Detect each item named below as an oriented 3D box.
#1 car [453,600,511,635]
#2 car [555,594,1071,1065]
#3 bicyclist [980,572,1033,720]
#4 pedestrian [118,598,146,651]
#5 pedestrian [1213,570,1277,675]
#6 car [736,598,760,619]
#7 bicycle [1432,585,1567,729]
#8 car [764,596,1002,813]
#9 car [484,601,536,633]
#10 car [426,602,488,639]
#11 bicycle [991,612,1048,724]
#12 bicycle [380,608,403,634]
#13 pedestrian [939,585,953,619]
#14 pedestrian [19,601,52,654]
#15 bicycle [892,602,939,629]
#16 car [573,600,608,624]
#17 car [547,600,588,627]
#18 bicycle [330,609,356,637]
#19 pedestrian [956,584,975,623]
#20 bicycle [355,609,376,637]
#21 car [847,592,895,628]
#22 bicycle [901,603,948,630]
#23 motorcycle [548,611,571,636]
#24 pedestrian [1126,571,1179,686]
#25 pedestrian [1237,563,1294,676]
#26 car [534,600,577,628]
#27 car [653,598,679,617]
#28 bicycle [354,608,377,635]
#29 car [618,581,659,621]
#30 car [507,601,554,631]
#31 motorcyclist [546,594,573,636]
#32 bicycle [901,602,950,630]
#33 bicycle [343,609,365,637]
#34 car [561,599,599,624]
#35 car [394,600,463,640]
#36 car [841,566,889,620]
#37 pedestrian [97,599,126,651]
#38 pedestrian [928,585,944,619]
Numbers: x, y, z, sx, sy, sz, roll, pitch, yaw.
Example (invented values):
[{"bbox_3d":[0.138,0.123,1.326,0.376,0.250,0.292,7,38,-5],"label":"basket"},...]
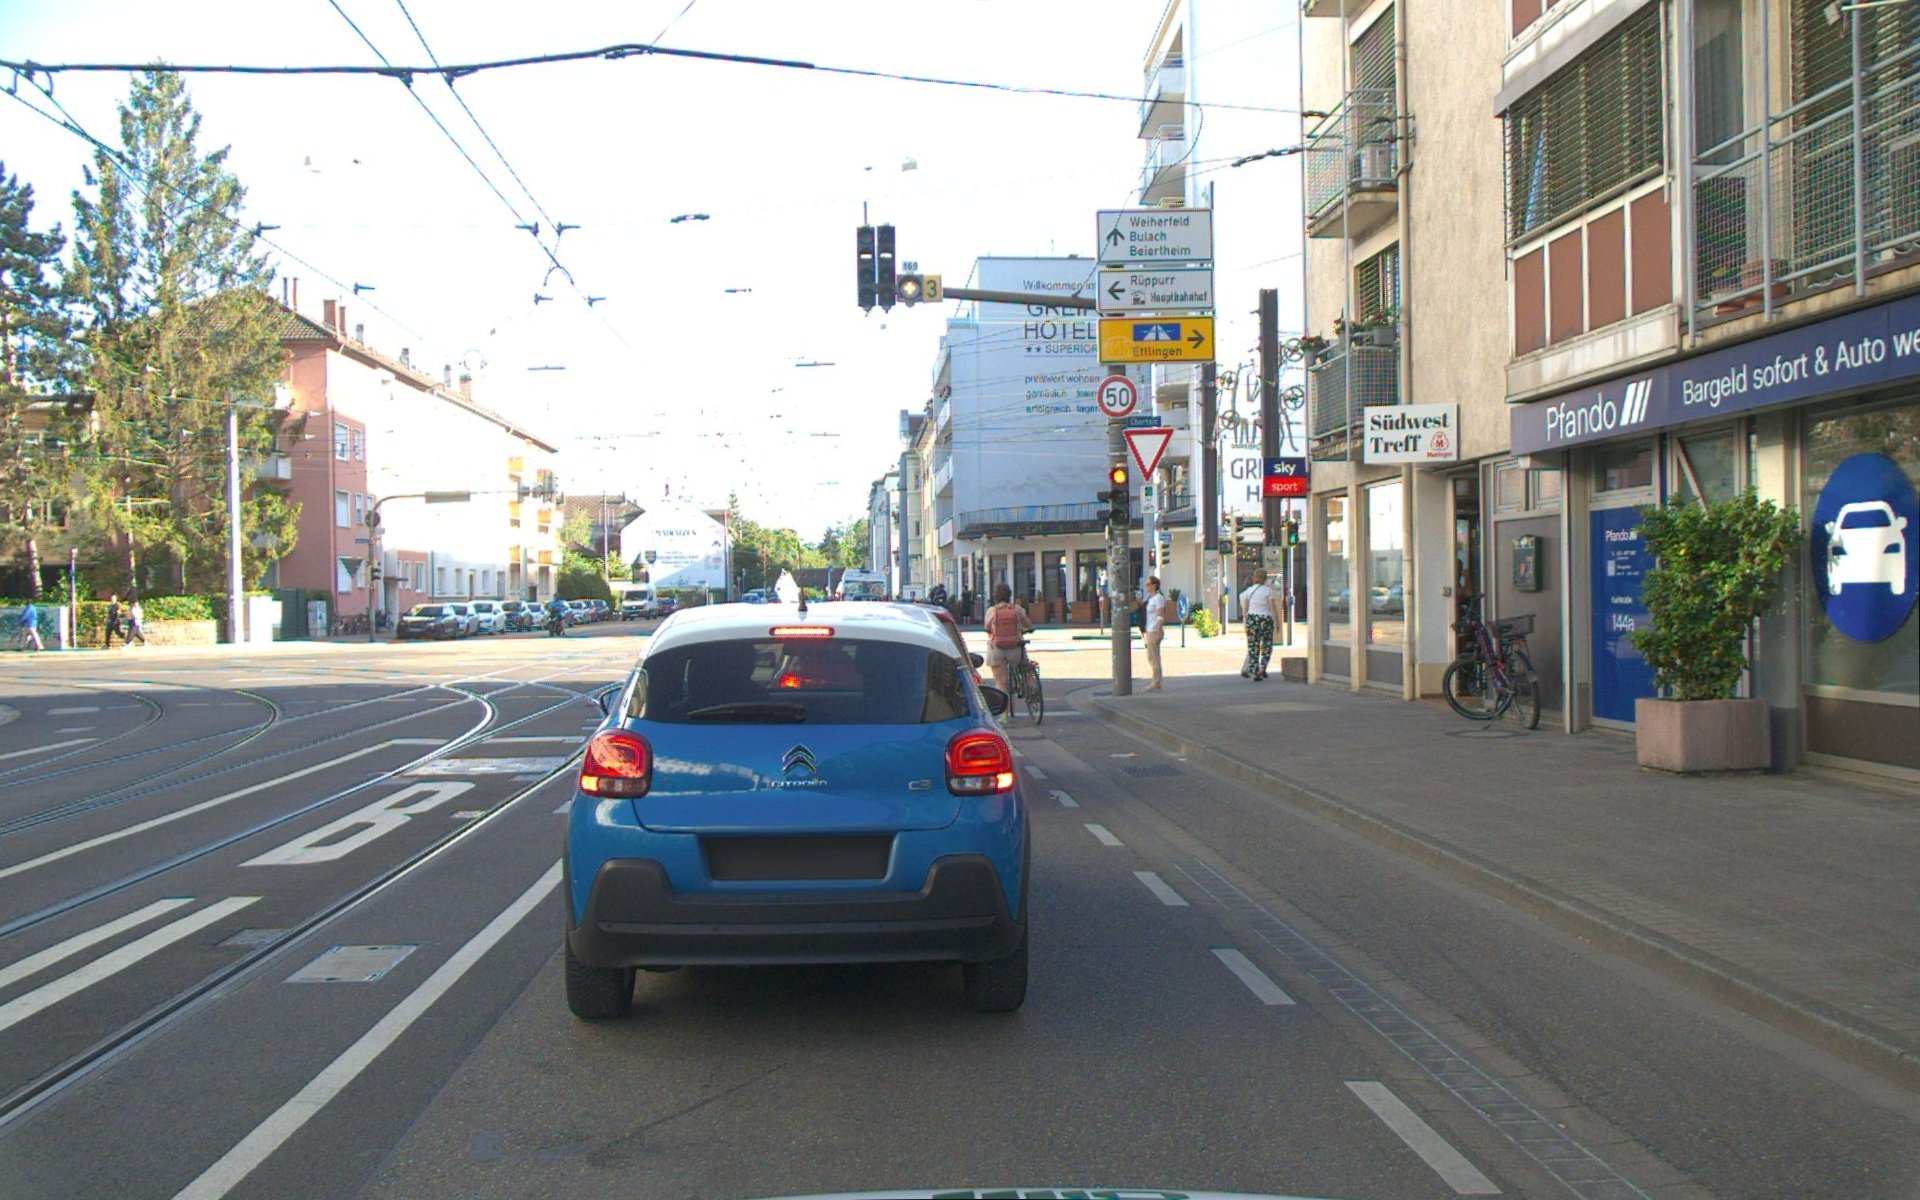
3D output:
[{"bbox_3d":[-22.751,0.826,78.846,1.913,1.545,3.995,-1,0,-6],"label":"car"},{"bbox_3d":[-0.607,0.731,7.335,1.647,1.488,3.997,1,0,-4],"label":"car"},{"bbox_3d":[0.573,0.552,20.581,0.588,1.776,1.084,-1,0,-1],"label":"bicyclist"},{"bbox_3d":[-27.666,0.822,55.267,0.798,1.732,0.602,-1,0,-25],"label":"pedestrian"},{"bbox_3d":[4.641,0.355,26.936,0.694,1.676,0.730,-1,0,-36],"label":"pedestrian"},{"bbox_3d":[-21.806,0.816,170.477,2.293,2.074,5.044,-1,0,-6],"label":"car"},{"bbox_3d":[5.118,0.504,15.804,0.627,1.286,1.910,-1,0,-1],"label":"bicycle"},{"bbox_3d":[-0.674,0.727,13.544,1.647,1.488,3.997,1,0,-4],"label":"car"},{"bbox_3d":[-23.229,0.846,85.503,1.913,1.545,3.995,-1,0,-6],"label":"car"},{"bbox_3d":[-22.549,0.882,74.241,1.913,1.545,4.040,-1,0,-6],"label":"car"},{"bbox_3d":[0.726,0.814,20.621,0.601,1.286,1.910,-1,0,-1],"label":"bicycle"},{"bbox_3d":[-25.667,0.948,74.677,0.597,1.101,1.908,-1,0,-7],"label":"bicycle"},{"bbox_3d":[-0.580,0.086,69.978,0.459,1.445,0.525,-1,0,-13],"label":"pedestrian"},{"bbox_3d":[-30.829,0.903,55.162,0.795,1.732,0.677,-1,0,-17],"label":"pedestrian"},{"bbox_3d":[-1.855,0.644,68.256,1.868,1.083,0.641,-1,0,-8],"label":"bicycle"},{"bbox_3d":[-25.562,0.796,114.578,1.913,1.545,3.995,-1,0,-6],"label":"car"},{"bbox_3d":[-24.404,0.815,102.975,1.913,1.545,3.995,-1,0,-6],"label":"car"},{"bbox_3d":[-24.977,0.925,66.976,0.628,1.101,1.905,-1,0,-11],"label":"bicycle"},{"bbox_3d":[0.234,0.148,70.115,0.551,1.676,0.529,-1,0,-45],"label":"pedestrian"},{"bbox_3d":[-24.225,0.942,67.401,0.527,1.101,1.905,-1,0,-11],"label":"bicycle"},{"bbox_3d":[-3.671,0.385,67.725,1.752,1.383,3.909,-1,0,-6],"label":"car"},{"bbox_3d":[-1.441,0.666,67.069,1.868,1.083,0.641,-1,0,-8],"label":"bicycle"},{"bbox_3d":[-16.220,0.944,67.006,0.738,0.993,2.092,-1,0,-9],"label":"motorcycle"},{"bbox_3d":[2.830,0.412,24.393,0.735,1.663,0.740,-1,0,5],"label":"pedestrian"},{"bbox_3d":[4.626,0.291,25.027,0.722,1.676,0.754,-1,0,18],"label":"pedestrian"},{"bbox_3d":[-23.929,0.830,97.978,1.913,1.545,3.995,-1,0,-6],"label":"car"},{"bbox_3d":[-25.570,0.652,144.151,1.913,1.545,3.995,-1,0,-6],"label":"car"},{"bbox_3d":[-25.869,0.934,71.972,0.527,1.101,1.908,-1,0,-7],"label":"bicycle"},{"bbox_3d":[-23.219,0.075,119.562,2.446,2.759,5.828,-1,0,-7],"label":"car"},{"bbox_3d":[-23.758,0.862,91.553,1.913,1.545,3.995,-1,0,-6],"label":"car"},{"bbox_3d":[-16.200,0.611,66.938,0.973,1.659,0.737,-1,0,-10],"label":"motorcyclist"},{"bbox_3d":[-1.388,0.641,65.765,1.868,1.083,0.641,-1,0,-8],"label":"bicycle"},{"bbox_3d":[-24.583,0.935,67.102,0.527,1.101,1.905,-1,0,-11],"label":"bicycle"},{"bbox_3d":[-24.845,0.757,108.248,1.913,1.545,3.995,-1,0,-6],"label":"car"},{"bbox_3d":[-22.010,0.797,68.636,1.913,1.545,3.995,-1,0,-6],"label":"car"},{"bbox_3d":[-4.226,-0.316,73.163,2.039,2.309,5.646,0,0,-4],"label":"car"},{"bbox_3d":[-28.523,0.832,55.601,0.798,1.732,0.629,-1,0,-25],"label":"pedestrian"},{"bbox_3d":[-1.005,0.091,70.223,0.514,1.445,0.547,-1,0,19],"label":"pedestrian"}]
